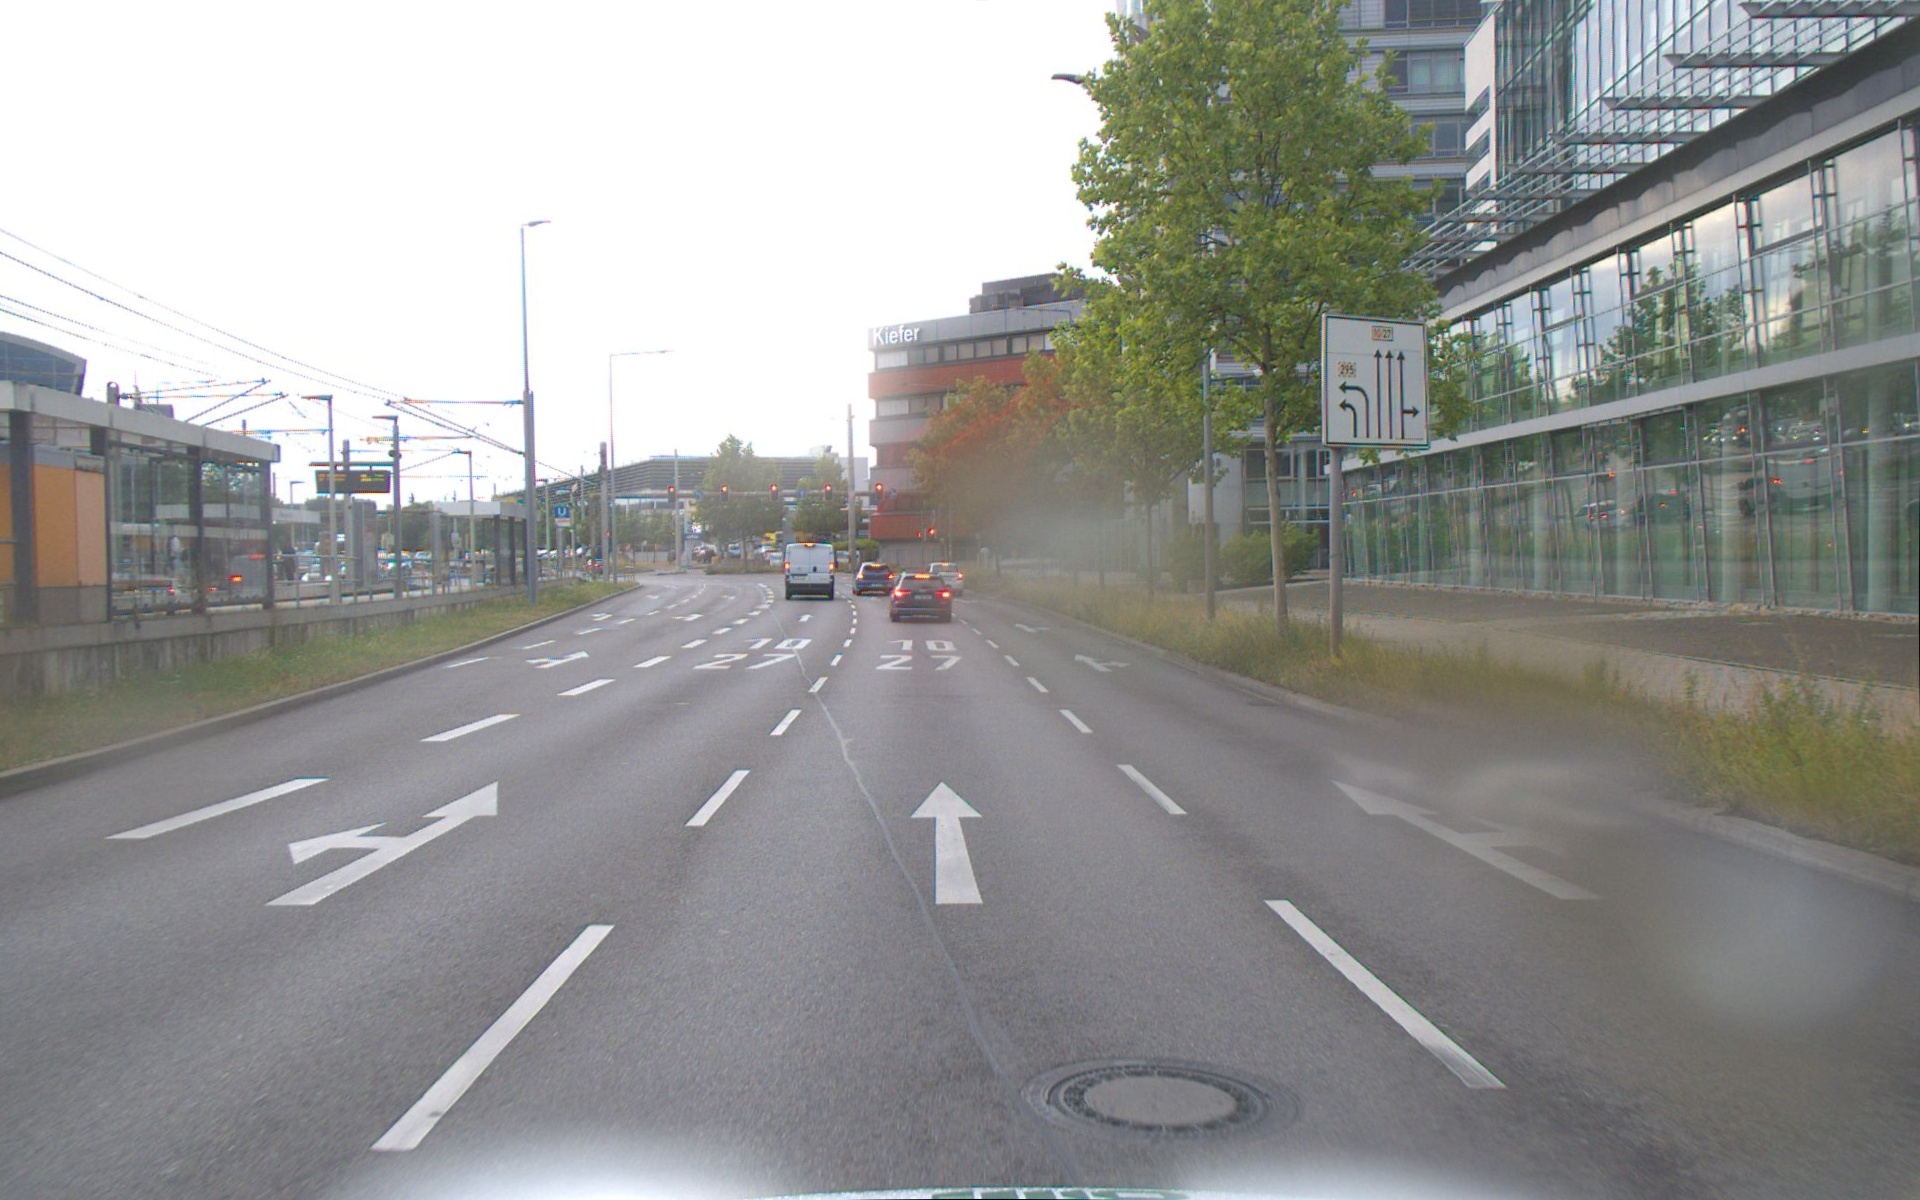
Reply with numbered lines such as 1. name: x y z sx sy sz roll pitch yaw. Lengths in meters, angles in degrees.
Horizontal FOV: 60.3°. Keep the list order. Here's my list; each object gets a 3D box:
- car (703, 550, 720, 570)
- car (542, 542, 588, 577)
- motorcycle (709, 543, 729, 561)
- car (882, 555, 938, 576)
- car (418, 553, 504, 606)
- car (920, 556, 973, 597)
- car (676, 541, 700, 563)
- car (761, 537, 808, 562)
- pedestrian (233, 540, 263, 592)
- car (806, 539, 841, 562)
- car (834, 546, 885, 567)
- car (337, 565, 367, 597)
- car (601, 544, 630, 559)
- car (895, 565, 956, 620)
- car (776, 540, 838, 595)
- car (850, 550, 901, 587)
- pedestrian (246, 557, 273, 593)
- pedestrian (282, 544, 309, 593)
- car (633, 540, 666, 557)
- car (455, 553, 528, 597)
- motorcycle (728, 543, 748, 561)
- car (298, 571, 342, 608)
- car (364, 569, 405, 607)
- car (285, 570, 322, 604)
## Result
1. car: -27.899 -4.499 185.699 1.786 2.049 3.460 0 -2 -12
2. car: -22.230 -2.242 93.207 1.955 1.840 3.842 3 0 -7
3. motorcycle: -30.422 -6.085 208.857 1.962 2.049 3.981 0 -2 -17
4. car: -3.928 -2.691 129.443 4.250 1.651 2.015 1 1 43
5. car: -15.915 -0.686 52.907 1.955 1.477 3.844 0 4 -7
6. car: -0.645 -1.113 75.321 1.982 1.800 3.995 0 2 -6
7. car: -27.904 -4.895 169.605 1.962 2.049 3.980 0 -2 -17
8. car: -15.197 -4.321 142.922 3.931 2.049 1.987 1 0 43
9. pedestrian: -24.149 -1.133 56.112 0.715 1.745 0.830 0 -1 -6
10. car: -13.752 -4.976 166.196 1.973 2.049 3.957 1 -2 -31
11. car: -8.141 -3.494 133.889 3.931 1.651 2.015 1 1 43
12. car: -44.341 -1.370 120.647 1.773 2.049 3.646 0 -4 -16
13. car: -51.231 -7.171 245.747 3.934 2.049 1.985 0 -2 -24
14. car: -0.998 -0.262 49.428 1.728 1.488 4.627 1 1 0
15. car: -6.367 -1.339 69.079 2.462 2.215 5.144 0 1 -5
16. car: -3.885 -1.424 75.322 1.983 1.651 3.993 0 1 -8
17. pedestrian: -25.106 -0.891 59.317 0.713 1.275 0.730 0 -1 -8
18. pedestrian: -24.624 -1.155 61.310 0.738 1.782 0.763 0 -2 -6
19. car: -40.329 -6.637 214.716 3.934 2.049 1.985 0 -2 -24
20. car: -16.929 -0.869 59.900 1.955 1.478 3.841 0 -1 -7
21. motorcycle: -28.123 -6.114 209.570 1.962 2.049 3.981 0 -2 -17
22. car: -39.416 -0.633 101.925 1.960 2.049 3.984 0 -4 -14
23. car: -35.155 -0.722 101.094 1.960 2.049 3.984 0 -4 -14
24. car: -45.374 -0.857 114.438 1.961 2.049 3.981 0 -4 -16
